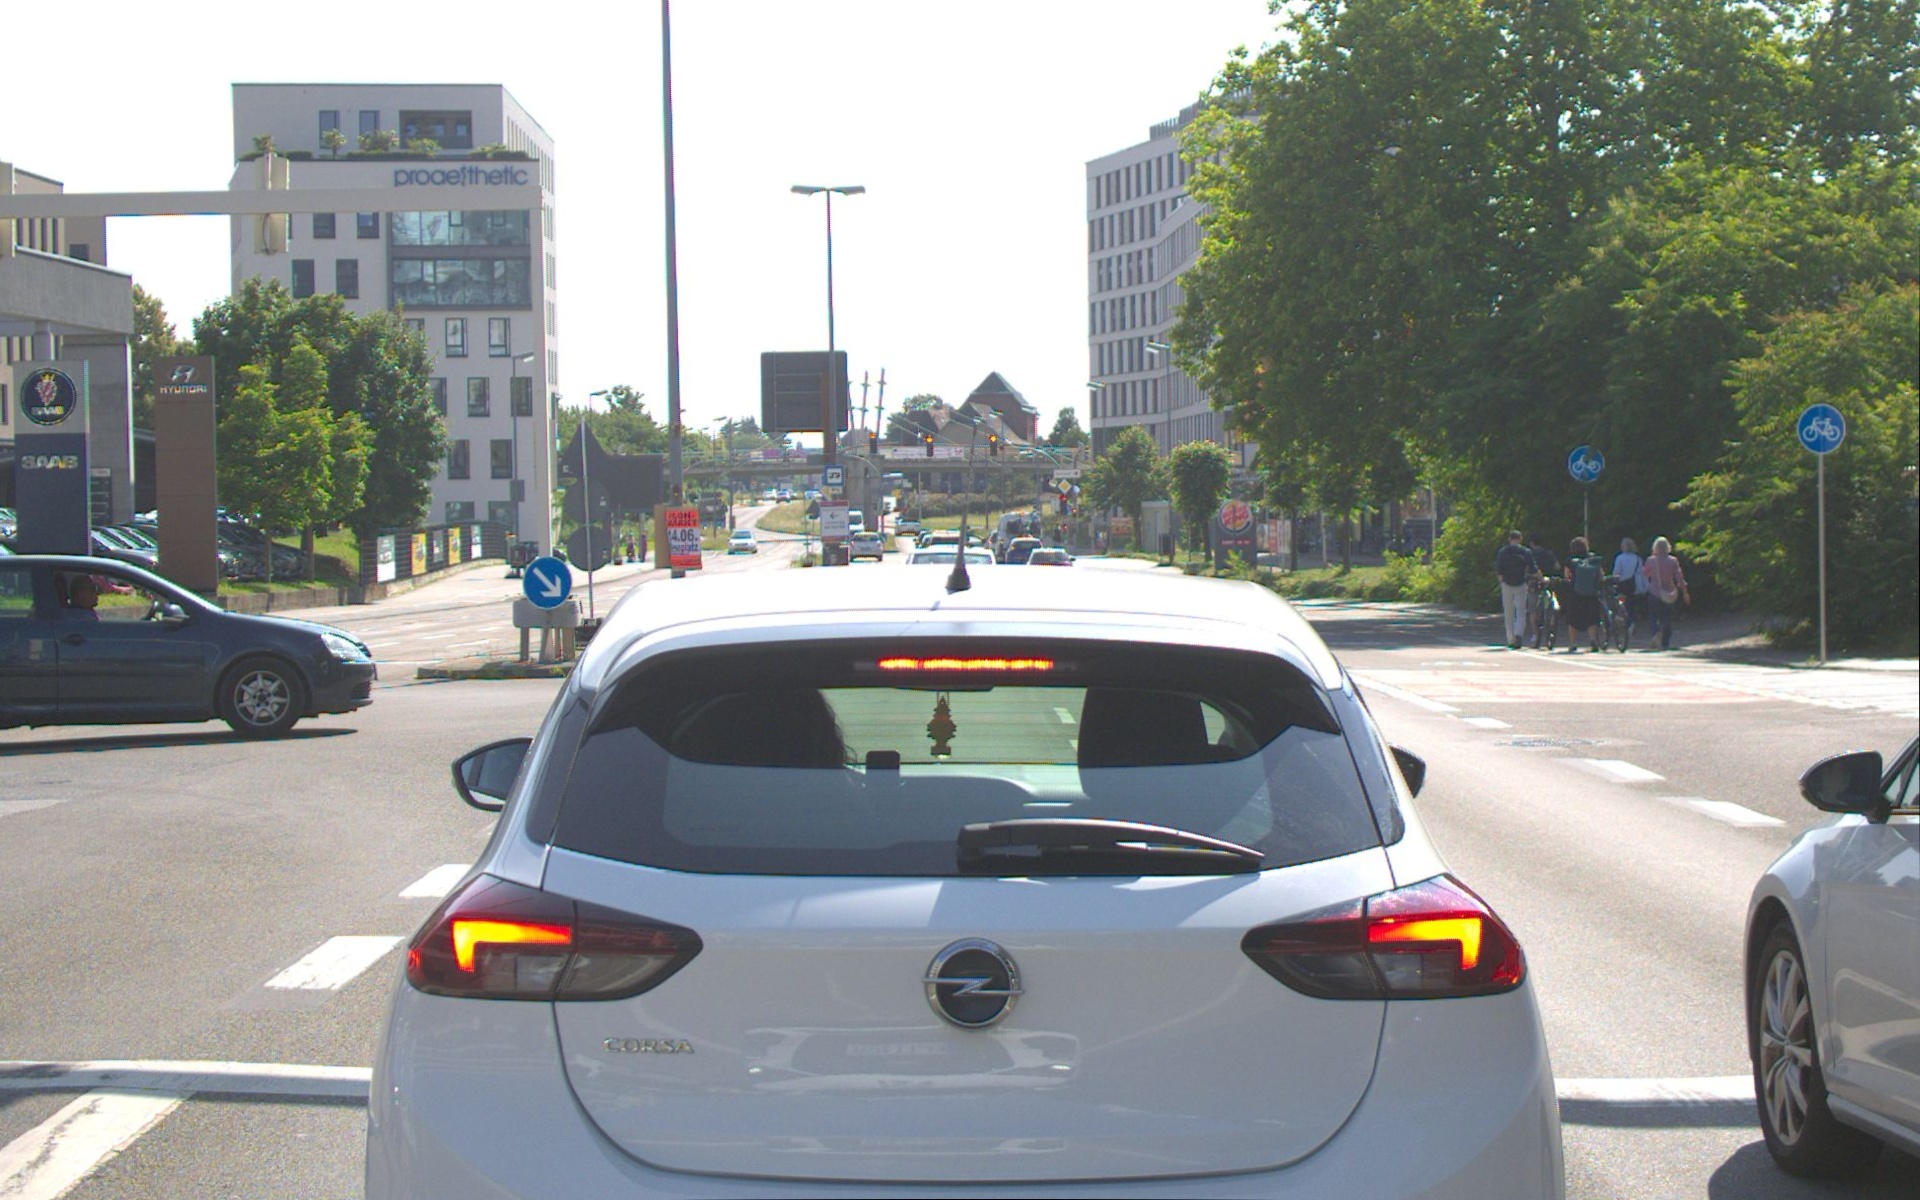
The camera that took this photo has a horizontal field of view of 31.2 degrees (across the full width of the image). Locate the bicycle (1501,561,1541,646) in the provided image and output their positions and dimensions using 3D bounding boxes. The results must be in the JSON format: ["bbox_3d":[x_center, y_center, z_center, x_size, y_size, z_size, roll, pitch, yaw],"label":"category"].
[{"bbox_3d":[8.180,0.042,50.169,0.372,1.212,1.154,1,1,-1],"label":"bicycle"}]

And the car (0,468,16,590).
[{"bbox_3d":[-22.549,-1.479,73.044,4.357,2.592,2.000,-1,1,5],"label":"car"}]

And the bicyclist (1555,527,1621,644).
[{"bbox_3d":[8.871,-0.209,48.586,0.688,1.637,0.777,-1,1,-9],"label":"bicyclist"}]

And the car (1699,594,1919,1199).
[{"bbox_3d":[2.875,0.711,6.857,1.807,1.424,4.000,-1,1,-2],"label":"car"}]

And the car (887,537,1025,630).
[{"bbox_3d":[-0.063,-0.245,52.056,1.993,1.327,4.000,1,0,0],"label":"car"}]

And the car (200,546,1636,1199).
[{"bbox_3d":[-0.074,0.661,6.287,1.779,1.489,4.000,-1,1,-1],"label":"car"}]

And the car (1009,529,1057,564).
[{"bbox_3d":[2.982,-2.189,140.748,1.806,1.381,4.000,1,0,-1],"label":"car"}]

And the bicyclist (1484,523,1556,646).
[{"bbox_3d":[8.169,-0.229,50.180,0.879,1.766,0.864,-1,1,0],"label":"bicyclist"}]

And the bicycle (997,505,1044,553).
[{"bbox_3d":[2.713,-3.201,155.438,1.993,2.150,4.000,-1,1,-1],"label":"bicycle"}]

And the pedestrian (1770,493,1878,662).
[{"bbox_3d":[10.475,-0.277,41.724,1.027,2.007,1.039,-1,1,-1],"label":"pedestrian"}]

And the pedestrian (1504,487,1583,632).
[{"bbox_3d":[9.112,-0.635,53.707,1.027,2.231,1.039,-1,1,-1],"label":"pedestrian"}]

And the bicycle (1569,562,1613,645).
[{"bbox_3d":[8.909,0.046,48.556,0.373,1.143,1.034,1,0,-3],"label":"bicycle"}]

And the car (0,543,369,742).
[{"bbox_3d":[-6.606,0.305,26.488,3.986,1.437,2.001,-1,1,-11],"label":"car"}]

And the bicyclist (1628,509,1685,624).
[{"bbox_3d":[9.978,-0.477,49.258,0.652,1.631,0.659,1,0,0],"label":"bicyclist"}]

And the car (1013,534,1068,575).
[{"bbox_3d":[2.869,-1.622,123.301,1.806,1.381,4.000,1,0,-1],"label":"car"}]
